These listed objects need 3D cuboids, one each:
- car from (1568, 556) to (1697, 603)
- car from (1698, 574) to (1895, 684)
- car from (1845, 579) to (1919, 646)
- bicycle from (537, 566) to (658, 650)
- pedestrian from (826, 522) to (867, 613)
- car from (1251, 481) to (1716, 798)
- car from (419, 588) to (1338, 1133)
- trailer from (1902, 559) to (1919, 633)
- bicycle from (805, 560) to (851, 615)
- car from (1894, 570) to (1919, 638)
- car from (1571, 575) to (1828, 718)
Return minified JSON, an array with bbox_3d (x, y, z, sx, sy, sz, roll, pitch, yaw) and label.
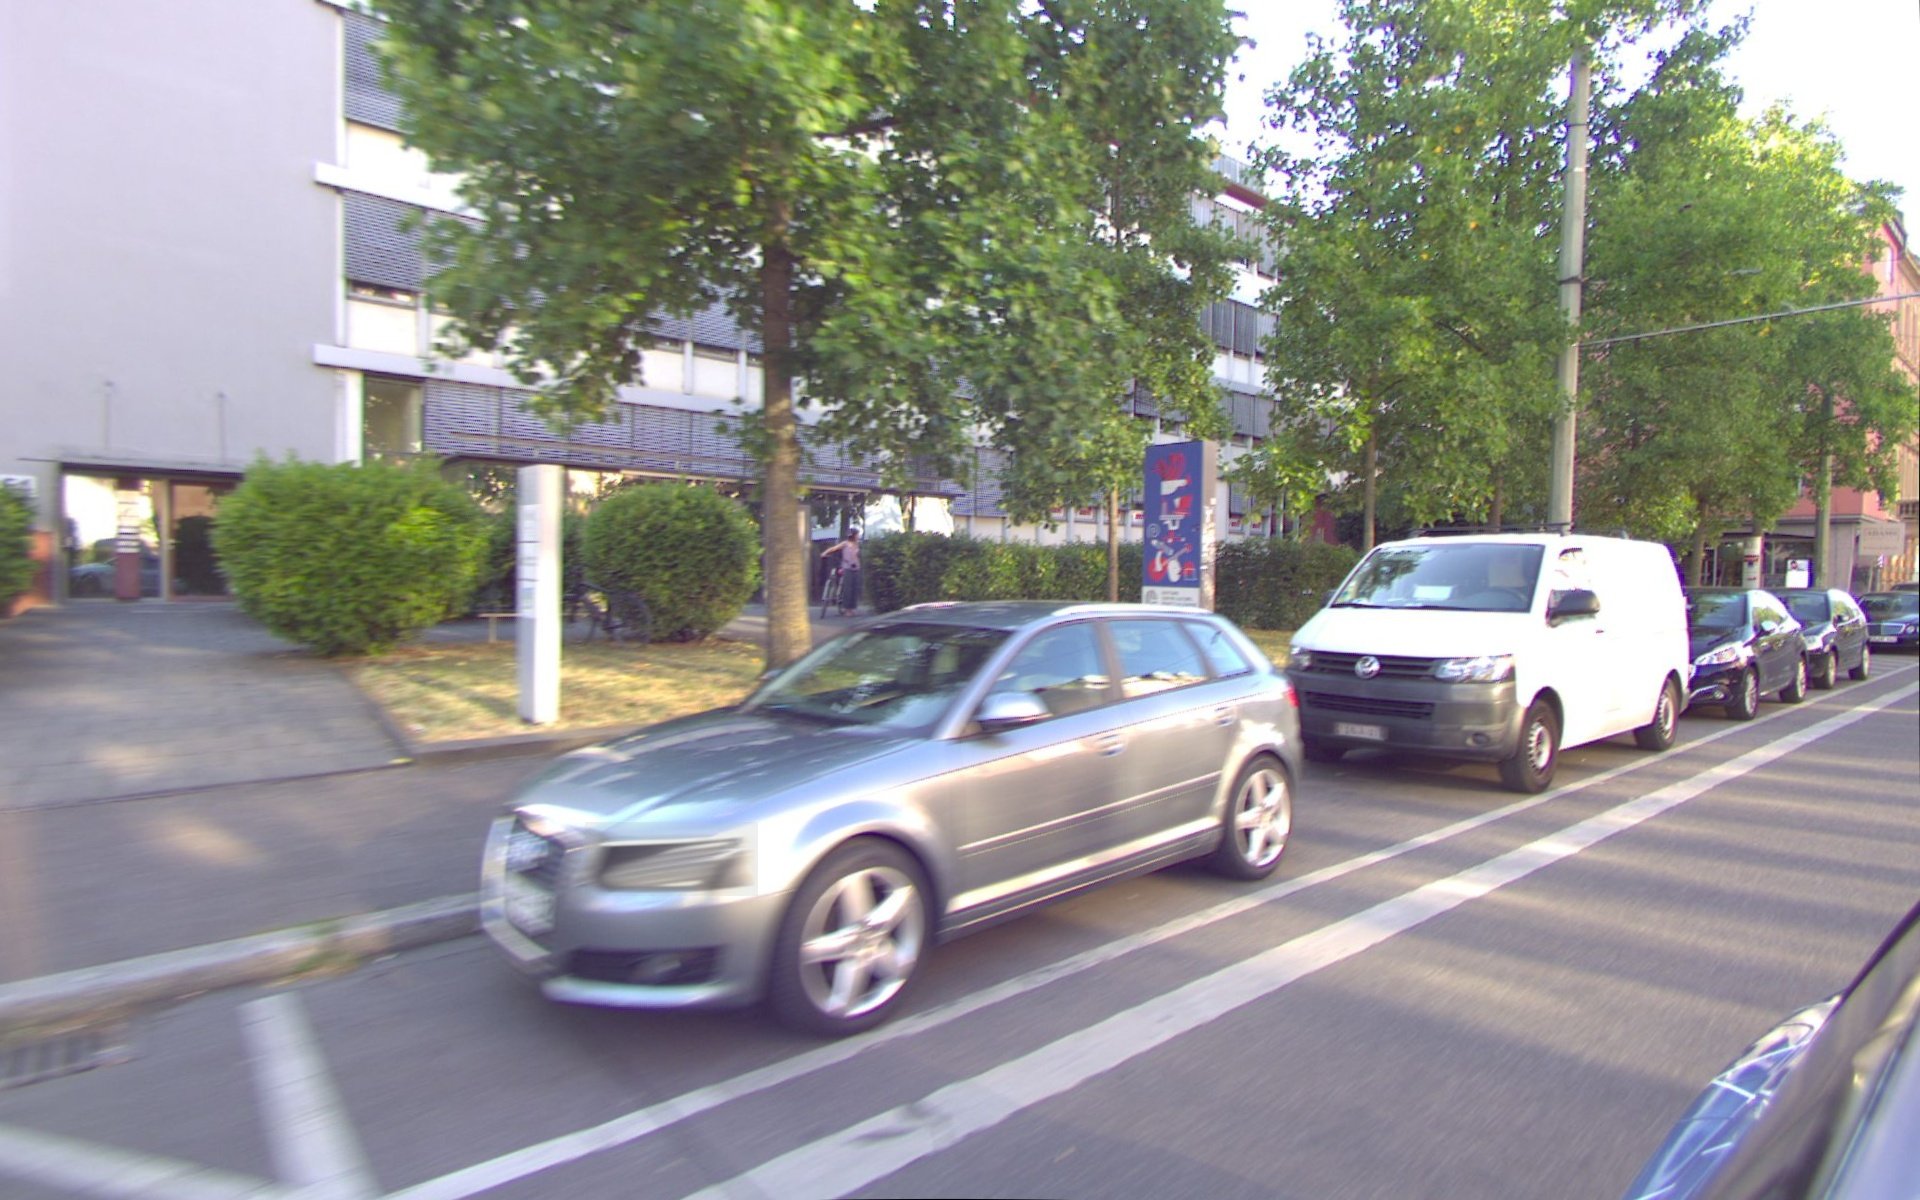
[{"bbox_3d":[29.292,-0.906,44.210,1.563,1.692,4.363,0,5,-43],"label":"car"},{"bbox_3d":[13.215,0.365,15.923,3.830,1.513,1.597,-1,2,-38],"label":"car"},{"bbox_3d":[22.372,0.284,23.776,4.138,1.446,1.783,0,1,-41],"label":"car"},{"bbox_3d":[-4.601,0.084,12.834,1.601,0.971,0.366,2,2,22],"label":"bicycle"},{"bbox_3d":[-2.170,-0.631,19.399,0.537,1.710,0.569,1,2,-34],"label":"pedestrian"},{"bbox_3d":[4.751,0.236,8.818,4.818,2.046,1.881,0,1,-40],"label":"car"},{"bbox_3d":[-0.047,0.676,4.707,4.096,1.422,1.677,-1,1,-42],"label":"car"},{"bbox_3d":[30.622,-0.107,30.994,5.218,2.175,1.784,0,1,-38],"label":"trailer"},{"bbox_3d":[-2.495,-0.249,19.042,0.361,0.971,1.250,0,3,-31],"label":"bicycle"},{"bbox_3d":[27.111,0.118,27.721,4.396,1.767,1.783,0,1,-41],"label":"car"},{"bbox_3d":[9.238,0.455,12.550,3.842,1.511,1.687,-1,1,-40],"label":"car"}]
